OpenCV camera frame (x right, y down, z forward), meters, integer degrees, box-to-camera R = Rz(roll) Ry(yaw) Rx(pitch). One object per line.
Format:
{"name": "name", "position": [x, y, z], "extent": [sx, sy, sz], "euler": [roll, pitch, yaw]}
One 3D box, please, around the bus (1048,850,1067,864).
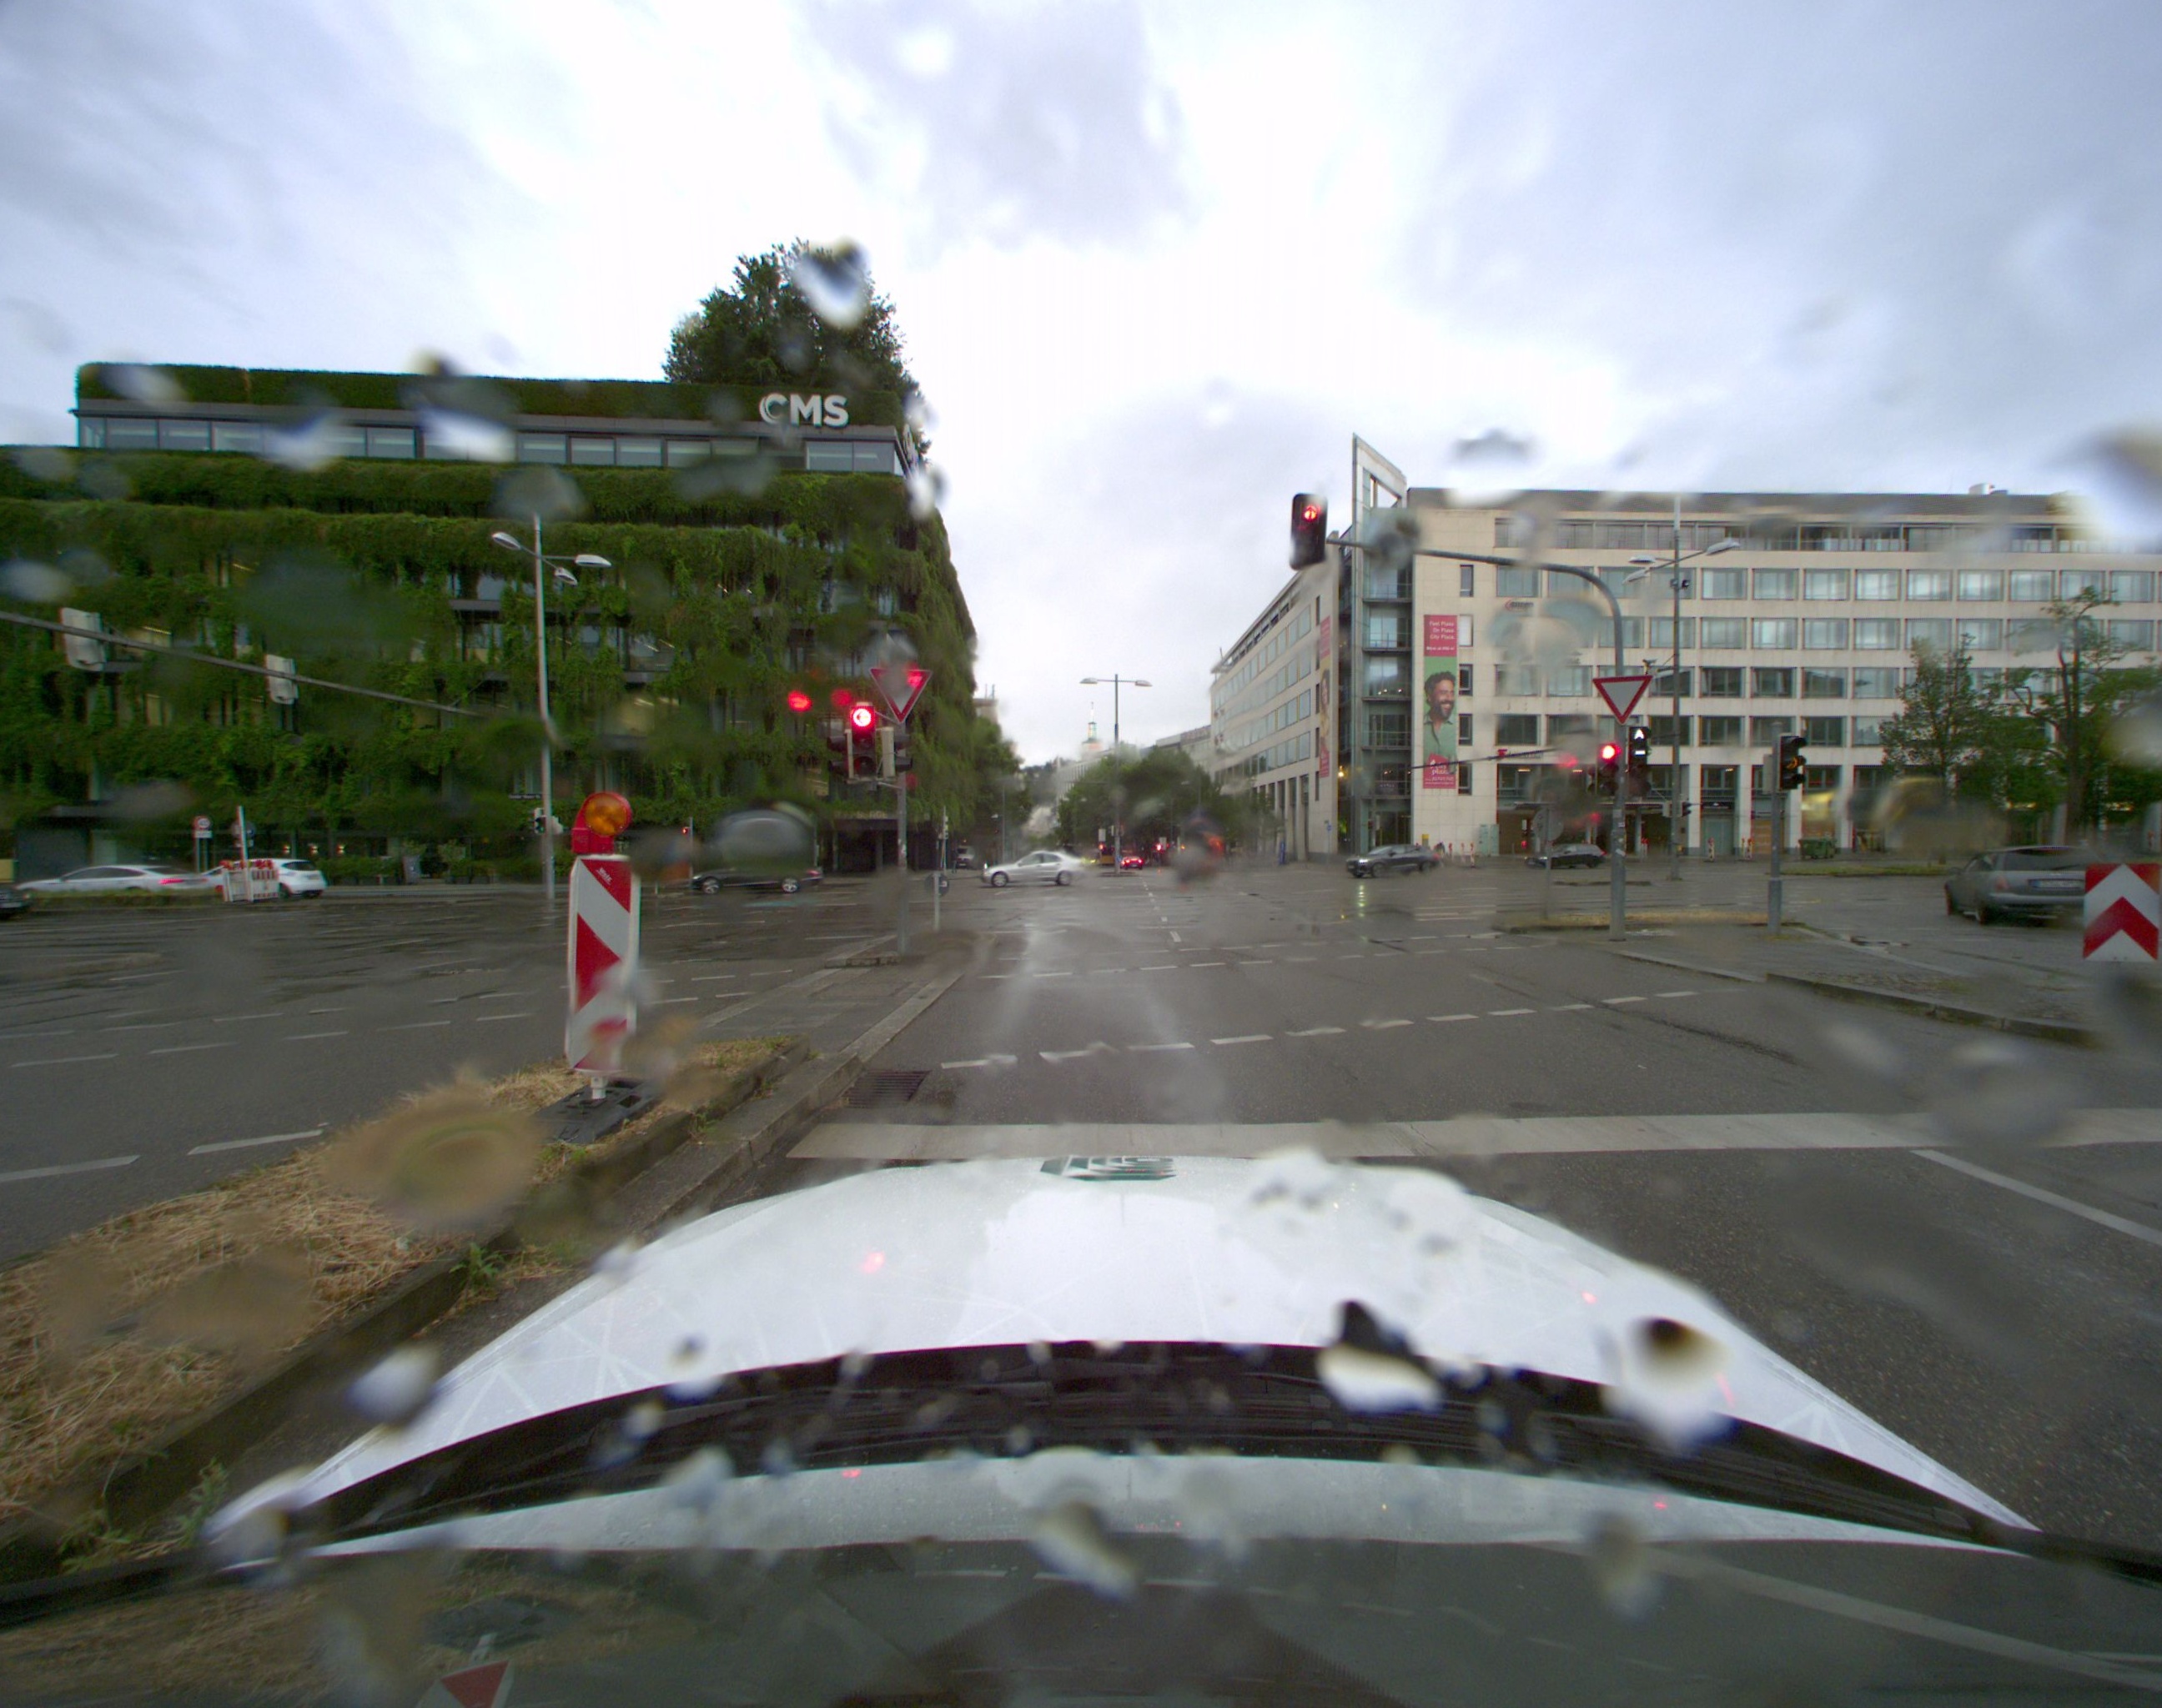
{"name": "bus", "position": [-5.225, 0.677, 180.706], "extent": [2.631, 2.995, 7.415], "euler": [-1, 0, -13]}

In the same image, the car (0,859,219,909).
{"name": "car", "position": [-32.843, 1.016, 27.625], "extent": [4.685, 1.512, 1.803], "euler": [2, -1, -11]}

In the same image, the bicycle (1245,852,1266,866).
{"name": "bicycle", "position": [15.294, 0.427, 71.398], "extent": [1.770, 1.194, 0.587], "euler": [0, -1, 3]}

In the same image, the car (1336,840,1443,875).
{"name": "car", "position": [14.488, 0.161, 38.295], "extent": [4.480, 1.609, 1.823], "euler": [0, -1, -14]}

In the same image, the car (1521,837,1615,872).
{"name": "car", "position": [28.564, 0.029, 47.819], "extent": [4.641, 2.014, 1.548], "euler": [0, -1, -2]}

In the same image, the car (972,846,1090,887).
{"name": "car", "position": [-2.153, 0.482, 34.400], "extent": [4.723, 1.476, 1.992], "euler": [-1, 3, -13]}

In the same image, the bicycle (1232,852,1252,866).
{"name": "bicycle", "position": [14.478, 0.448, 73.222], "extent": [1.770, 1.194, 0.587], "euler": [0, -1, 3]}

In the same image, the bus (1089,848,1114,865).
{"name": "bus", "position": [3.691, 0.415, 146.078], "extent": [2.631, 2.995, 7.415], "euler": [-1, 0, -13]}

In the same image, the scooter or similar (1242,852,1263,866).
{"name": "scooter or similar", "position": [14.914, 0.425, 70.784], "extent": [1.770, 1.194, 0.587], "euler": [0, -1, 3]}

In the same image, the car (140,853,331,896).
{"name": "car", "position": [-31.547, 0.746, 30.564], "extent": [4.690, 1.512, 1.802], "euler": [0, -1, -14]}

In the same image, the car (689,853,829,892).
{"name": "car", "position": [-12.491, 0.720, 31.947], "extent": [4.853, 1.477, 1.991], "euler": [0, -2, -14]}

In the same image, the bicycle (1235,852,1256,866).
{"name": "bicycle", "position": [14.945, 0.452, 74.129], "extent": [1.770, 1.194, 0.587], "euler": [0, -1, 3]}

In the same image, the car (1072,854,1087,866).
{"name": "car", "position": [-0.272, 0.959, 127.393], "extent": [2.158, 1.765, 5.109], "euler": [-2, 0, -1]}

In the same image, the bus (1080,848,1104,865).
{"name": "bus", "position": [1.999, 0.434, 153.270], "extent": [2.631, 2.995, 7.415], "euler": [-1, 0, -13]}

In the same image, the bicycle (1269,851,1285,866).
{"name": "bicycle", "position": [16.057, 0.384, 66.724], "extent": [0.579, 1.194, 1.794], "euler": [-1, -1, 40]}

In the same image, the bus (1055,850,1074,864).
{"name": "bus", "position": [-3.530, 0.636, 173.563], "extent": [2.631, 2.995, 7.294], "euler": [-1, 0, -13]}

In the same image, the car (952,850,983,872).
{"name": "car", "position": [-9.553, 0.599, 68.723], "extent": [1.863, 1.839, 4.001], "euler": [0, -1, 2]}

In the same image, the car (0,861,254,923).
{"name": "car", "position": [-26.122, 0.985, 22.056], "extent": [4.901, 1.488, 1.924], "euler": [-1, 0, -15]}

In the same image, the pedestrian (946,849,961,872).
{"name": "pedestrian", "position": [-9.204, 0.480, 58.928], "extent": [0.930, 1.644, 0.774], "euler": [0, -1, 1]}

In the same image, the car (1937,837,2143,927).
{"name": "car", "position": [17.621, 0.434, 15.181], "extent": [1.722, 1.455, 3.745], "euler": [-1, 1, 38]}

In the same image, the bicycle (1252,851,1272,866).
{"name": "bicycle", "position": [14.734, 0.389, 66.198], "extent": [0.588, 1.194, 1.768], "euler": [0, -1, -26]}

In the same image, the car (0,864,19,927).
{"name": "car", "position": [-27.339, 1.003, 18.299], "extent": [3.981, 1.475, 1.996], "euler": [-1, 0, -6]}

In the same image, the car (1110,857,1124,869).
{"name": "car", "position": [4.752, 1.177, 106.830], "extent": [1.775, 1.508, 4.001], "euler": [0, -1, 2]}

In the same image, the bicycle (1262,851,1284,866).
{"name": "bicycle", "position": [15.207, 0.373, 64.633], "extent": [1.607, 1.194, 0.590], "euler": [-1, -1, 27]}

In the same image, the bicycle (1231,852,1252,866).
{"name": "bicycle", "position": [14.302, 0.444, 72.591], "extent": [1.770, 1.194, 0.587], "euler": [0, -1, 3]}

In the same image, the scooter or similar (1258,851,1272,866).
{"name": "scooter or similar", "position": [14.425, 0.373, 63.967], "extent": [0.951, 1.194, 0.458], "euler": [-1, -1, 42]}

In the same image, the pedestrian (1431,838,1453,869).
{"name": "pedestrian", "position": [21.868, -0.035, 49.319], "extent": [0.958, 1.816, 0.837], "euler": [0, -1, 1]}

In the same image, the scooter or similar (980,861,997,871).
{"name": "scooter or similar", "position": [-9.421, 1.184, 82.937], "extent": [0.616, 1.004, 1.671], "euler": [-1, 0, 40]}

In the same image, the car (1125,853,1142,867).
{"name": "car", "position": [5.779, 0.630, 90.268], "extent": [1.775, 1.508, 4.001], "euler": [0, -1, 2]}
